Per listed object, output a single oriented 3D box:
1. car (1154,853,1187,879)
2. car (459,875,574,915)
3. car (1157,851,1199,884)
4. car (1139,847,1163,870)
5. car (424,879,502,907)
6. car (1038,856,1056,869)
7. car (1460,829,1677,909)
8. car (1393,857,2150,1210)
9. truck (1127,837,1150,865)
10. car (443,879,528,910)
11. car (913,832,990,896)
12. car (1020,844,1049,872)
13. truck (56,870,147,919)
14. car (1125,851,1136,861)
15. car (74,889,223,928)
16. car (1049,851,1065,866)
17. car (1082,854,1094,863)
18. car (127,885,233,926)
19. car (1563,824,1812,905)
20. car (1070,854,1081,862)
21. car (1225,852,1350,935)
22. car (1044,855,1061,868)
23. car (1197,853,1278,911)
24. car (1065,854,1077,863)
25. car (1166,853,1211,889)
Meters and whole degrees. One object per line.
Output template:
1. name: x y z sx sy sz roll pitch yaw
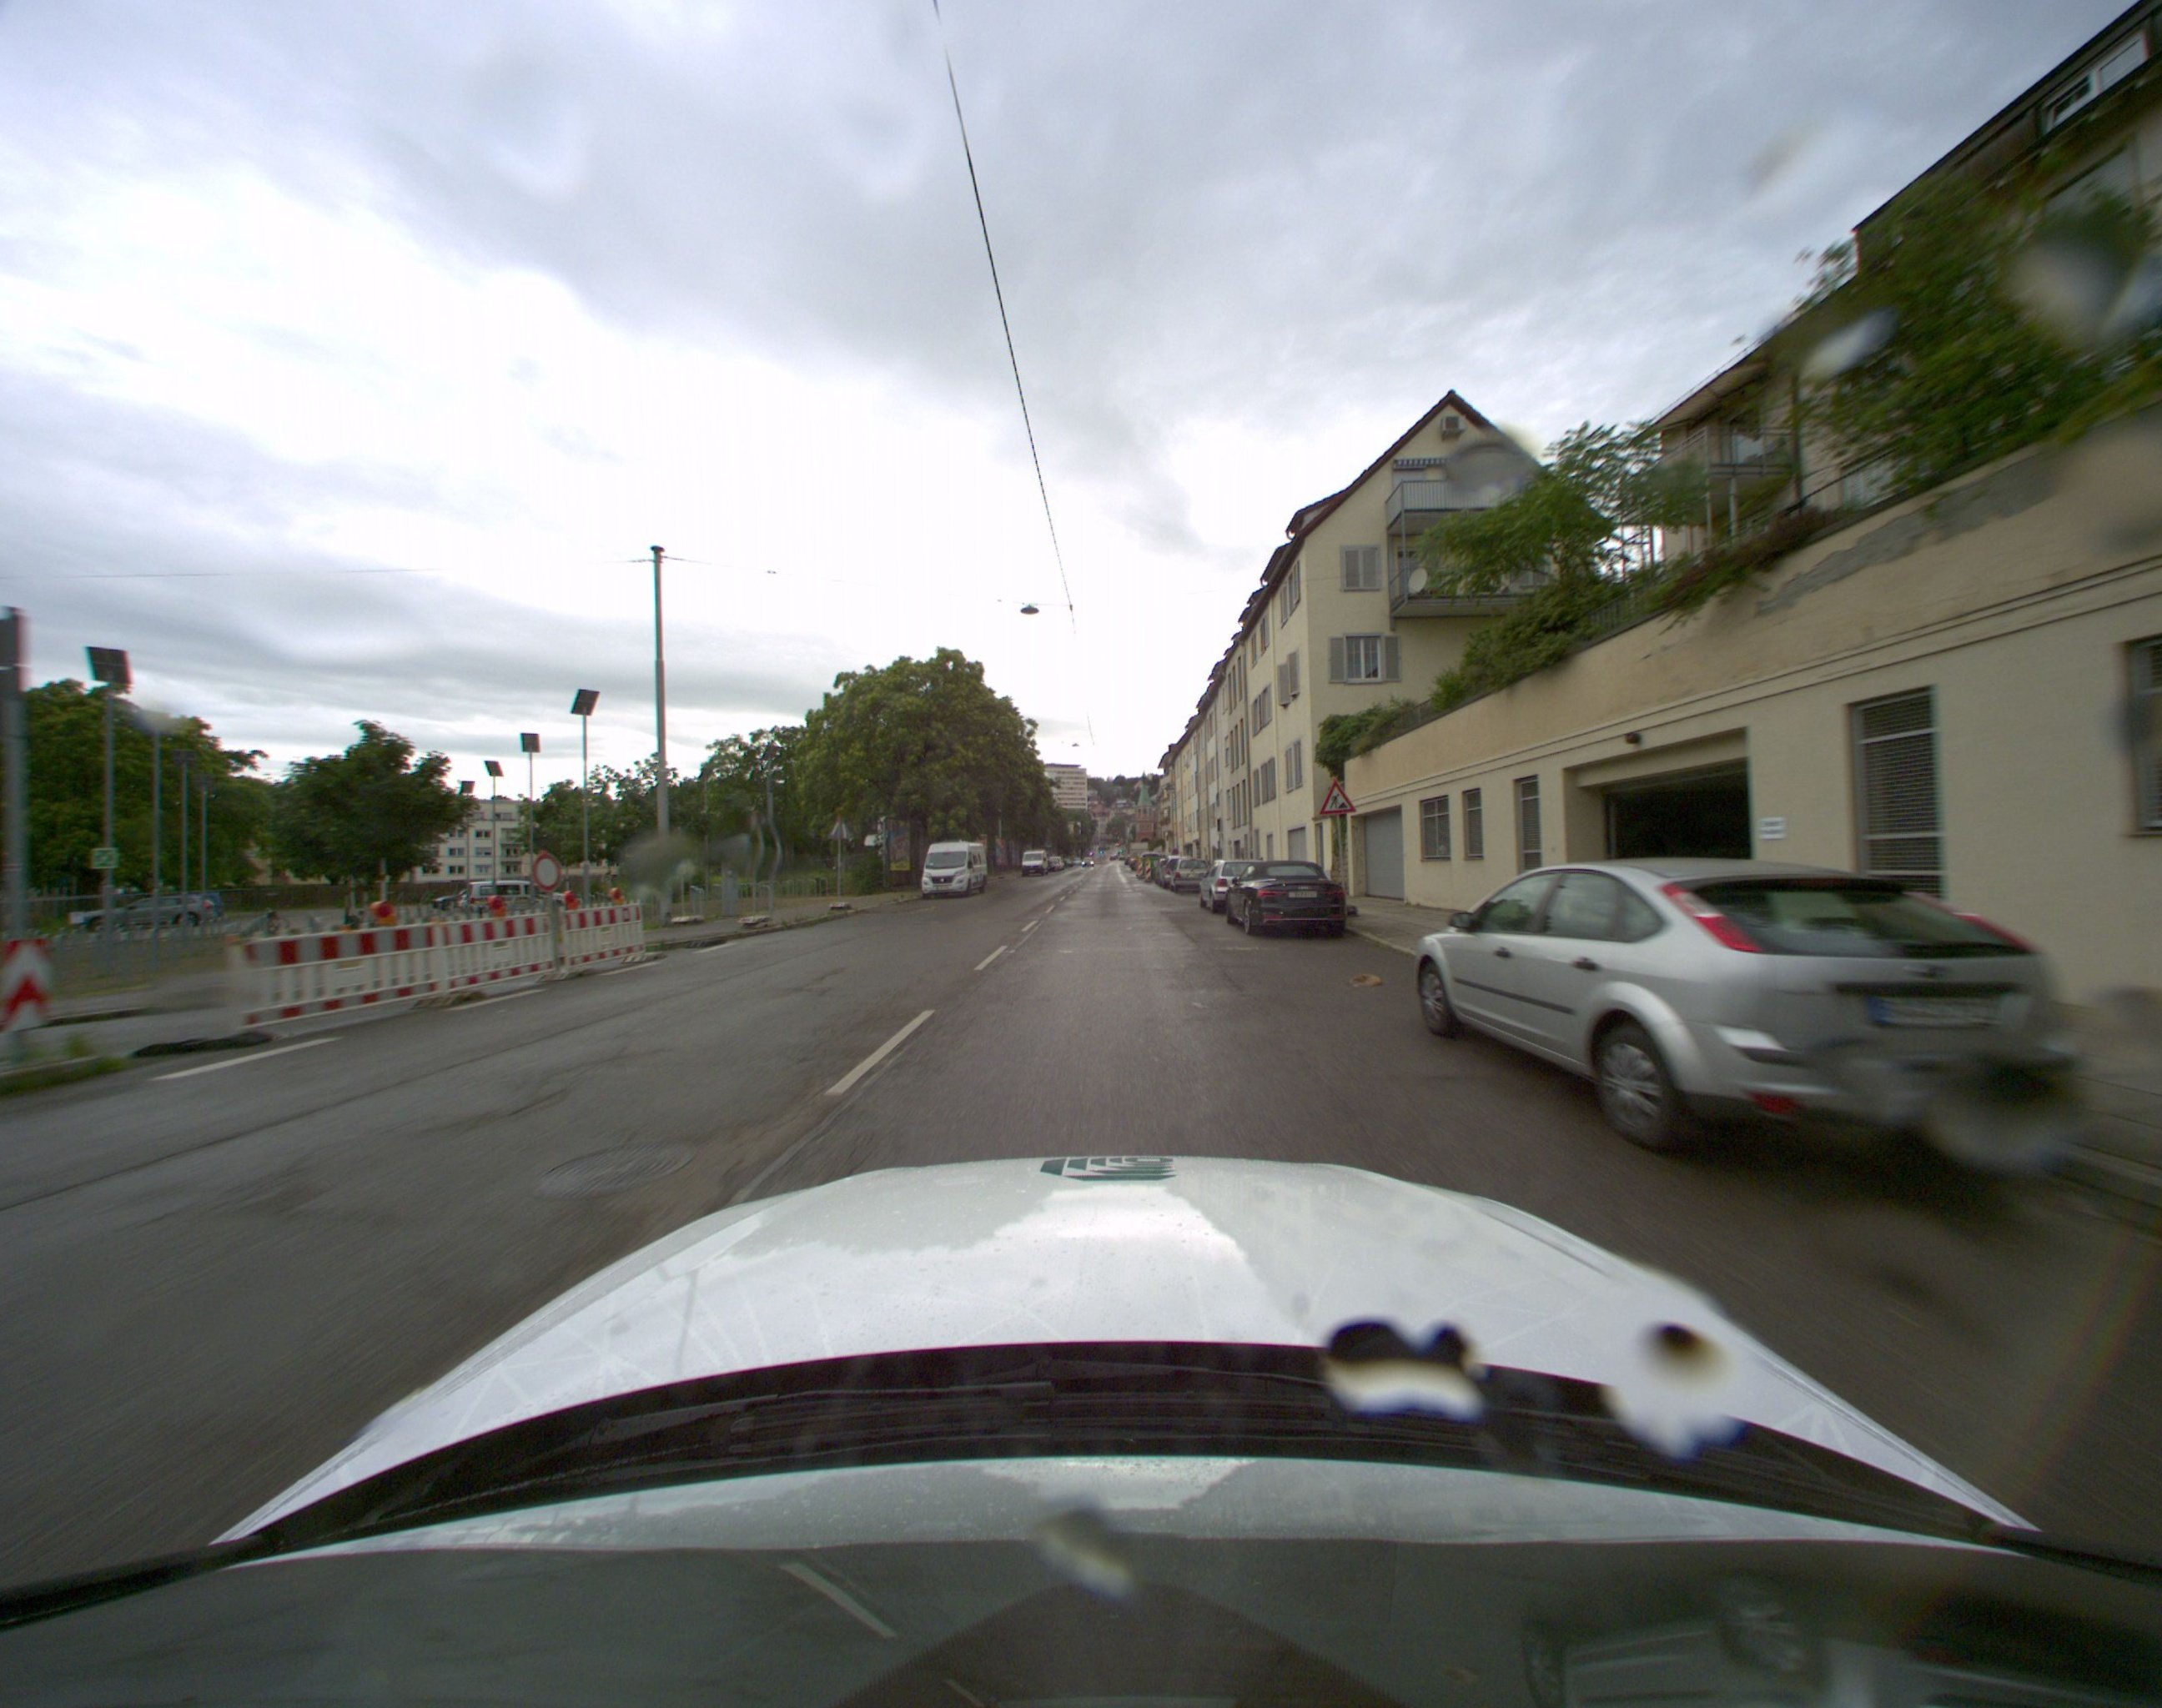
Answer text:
1. car: 5.019 0.647 46.249 1.620 1.411 3.844 0 1 2
2. car: -30.302 2.148 43.827 1.975 1.834 4.721 -2 0 44
3. car: 4.783 0.654 40.678 1.710 1.524 4.002 0 1 1
4. car: 5.979 0.365 70.122 1.810 1.924 4.242 -2 0 3
5. car: -42.687 2.672 56.313 1.777 1.625 4.024 -2 0 44
6. car: -3.820 0.917 91.469 1.676 1.398 3.911 -2 0 1
7. car: 9.696 0.263 16.658 1.881 1.401 4.202 -1 0 -1
8. car: 3.726 0.767 5.562 1.682 1.454 4.236 0 0 1
9. truck: 6.717 -0.337 96.302 2.459 3.172 7.040 -1 0 3
10. car: -37.203 2.485 50.957 1.777 1.625 4.024 -2 0 44
11. car: -5.836 0.402 37.647 2.222 2.578 6.539 -3 0 1
12. car: -4.300 0.326 76.471 2.003 2.487 5.988 -2 0 3
13. truck: -118.489 4.869 98.889 15.506 5.143 5.645 -3 1 44
14. car: 8.665 0.329 142.063 1.811 1.652 4.078 0 0 2
15. car: -48.689 2.813 42.731 4.934 1.625 2.099 -3 -2 -44
16. car: -3.074 0.574 104.579 1.717 1.800 4.345 -2 0 1
17. car: 1.025 0.729 128.363 1.800 1.415 4.382 -2 0 -1
18. car: -53.242 3.022 48.232 4.023 2.052 1.778 -3 -2 -44
19. car: 11.985 0.194 16.508 1.881 1.401 4.202 -1 0 -1
20. car: -0.960 0.702 147.909 1.703 1.450 4.295 -2 -1 1
21. car: 3.980 0.711 16.255 1.623 1.454 3.760 0 -1 1
22. car: -3.419 0.876 98.561 1.676 1.462 4.278 -2 0 1
23. car: 4.275 0.707 22.721 1.623 1.454 3.761 0 1 1
24. car: -1.595 0.707 132.709 1.797 1.450 4.657 -2 -1 0
25. car: 4.637 0.708 35.507 1.553 1.454 3.761 0 1 1
